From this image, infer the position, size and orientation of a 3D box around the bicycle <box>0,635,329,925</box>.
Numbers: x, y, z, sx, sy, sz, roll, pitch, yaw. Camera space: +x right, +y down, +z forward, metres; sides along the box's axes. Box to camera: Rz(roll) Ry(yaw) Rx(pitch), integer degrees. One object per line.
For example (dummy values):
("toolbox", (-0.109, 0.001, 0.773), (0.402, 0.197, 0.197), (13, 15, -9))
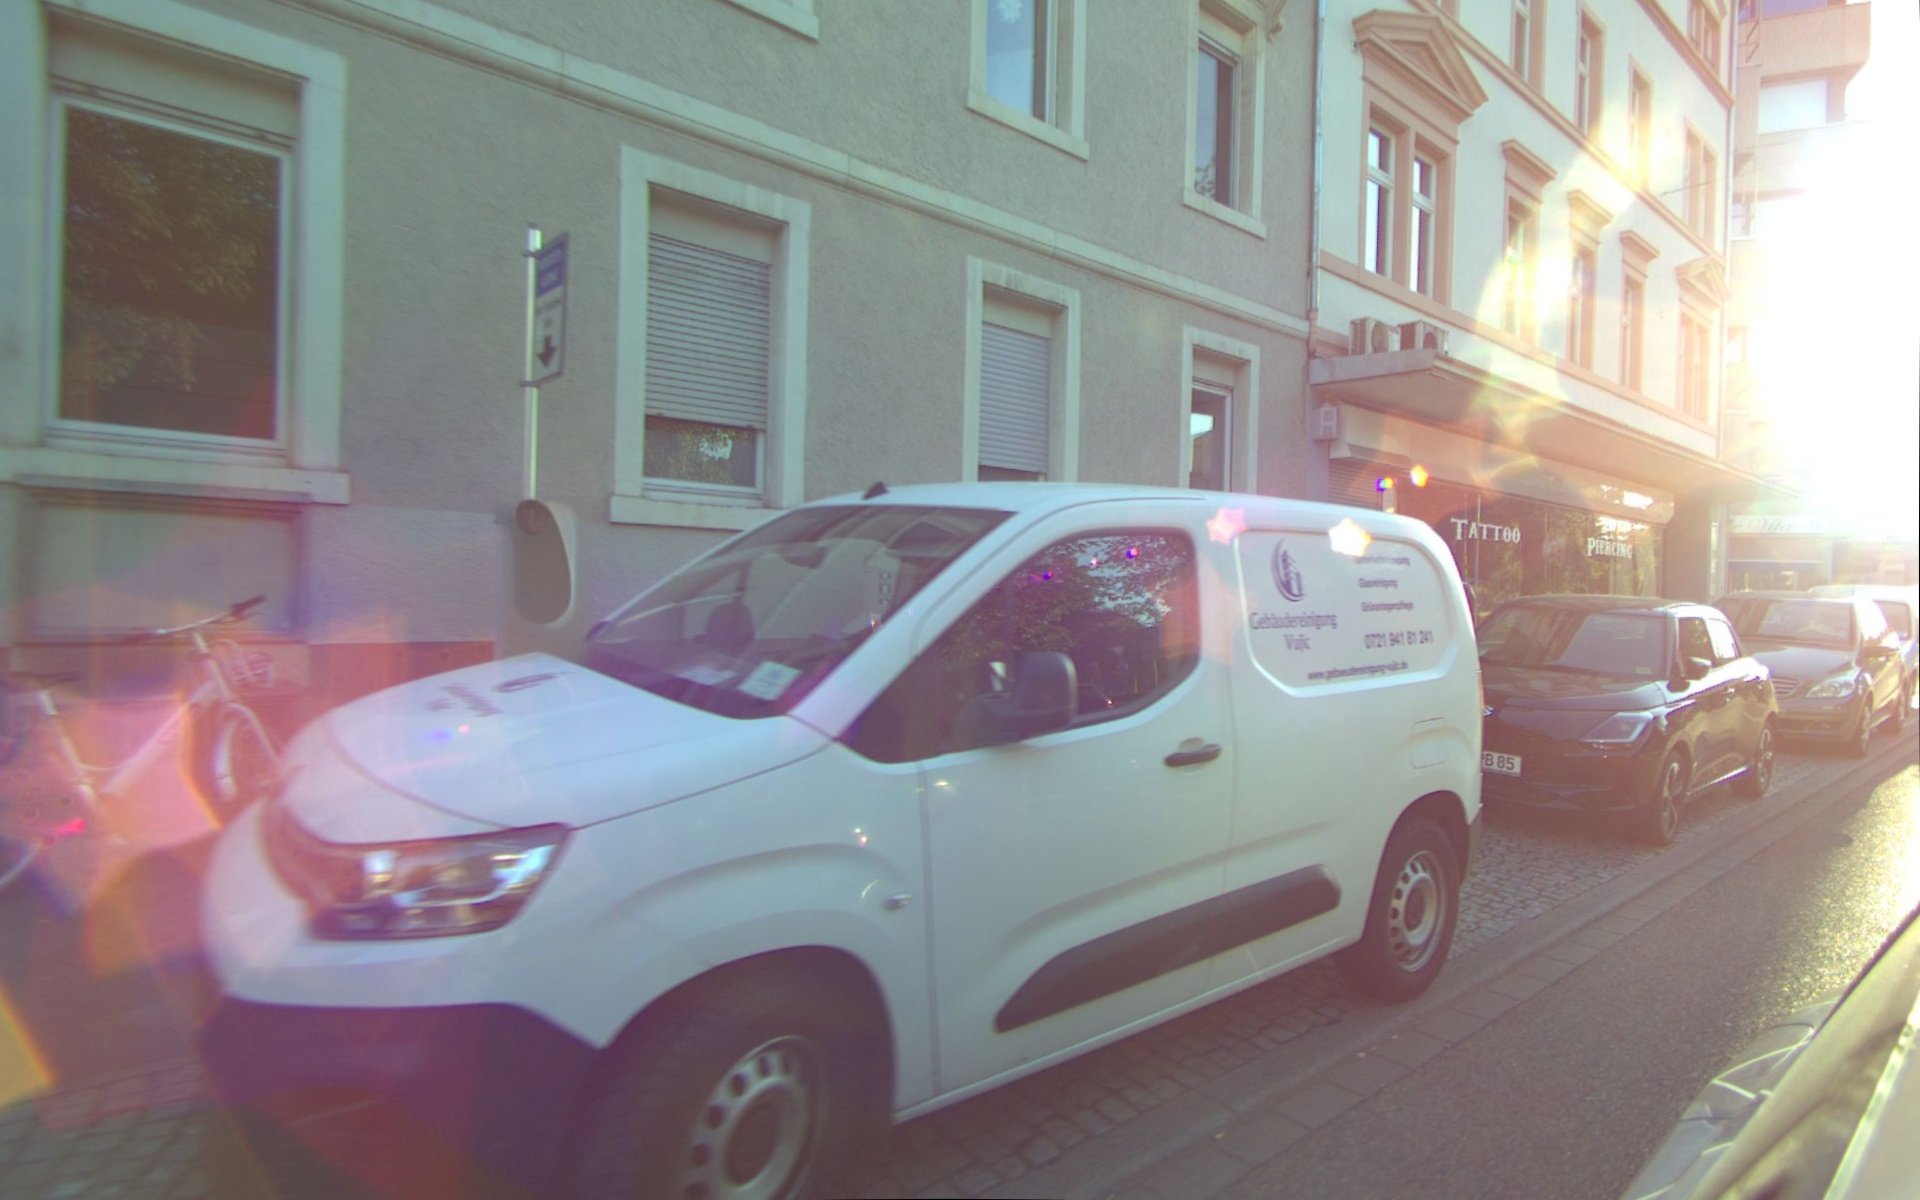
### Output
("bicycle", (-3.620, 0.702, 4.175), (0.453, 1.024, 1.691), (0, 1, 35))

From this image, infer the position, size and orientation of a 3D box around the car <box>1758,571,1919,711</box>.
("car", (13.508, 0.516, 15.059), (4.019, 1.814, 1.796), (0, 1, -40))

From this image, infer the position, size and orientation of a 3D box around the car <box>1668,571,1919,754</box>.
("car", (9.465, 0.586, 11.295), (4.036, 1.686, 1.659), (1, 0, -41))

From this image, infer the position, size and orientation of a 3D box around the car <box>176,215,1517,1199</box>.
("car", (0.079, 0.418, 3.397), (4.228, 1.858, 1.713), (1, -1, -40))

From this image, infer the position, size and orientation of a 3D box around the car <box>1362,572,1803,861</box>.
("car", (4.671, 0.648, 7.371), (3.814, 1.564, 1.670), (1, 0, -41))

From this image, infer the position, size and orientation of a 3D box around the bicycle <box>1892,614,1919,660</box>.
("bicycle", (22.067, 0.890, 22.574), (0.530, 1.002, 1.798), (3, 2, -17))

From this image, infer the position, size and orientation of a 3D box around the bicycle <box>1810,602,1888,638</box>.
("bicycle", (28.980, 0.648, 33.001), (1.862, 1.017, 0.457), (3, 2, 12))
